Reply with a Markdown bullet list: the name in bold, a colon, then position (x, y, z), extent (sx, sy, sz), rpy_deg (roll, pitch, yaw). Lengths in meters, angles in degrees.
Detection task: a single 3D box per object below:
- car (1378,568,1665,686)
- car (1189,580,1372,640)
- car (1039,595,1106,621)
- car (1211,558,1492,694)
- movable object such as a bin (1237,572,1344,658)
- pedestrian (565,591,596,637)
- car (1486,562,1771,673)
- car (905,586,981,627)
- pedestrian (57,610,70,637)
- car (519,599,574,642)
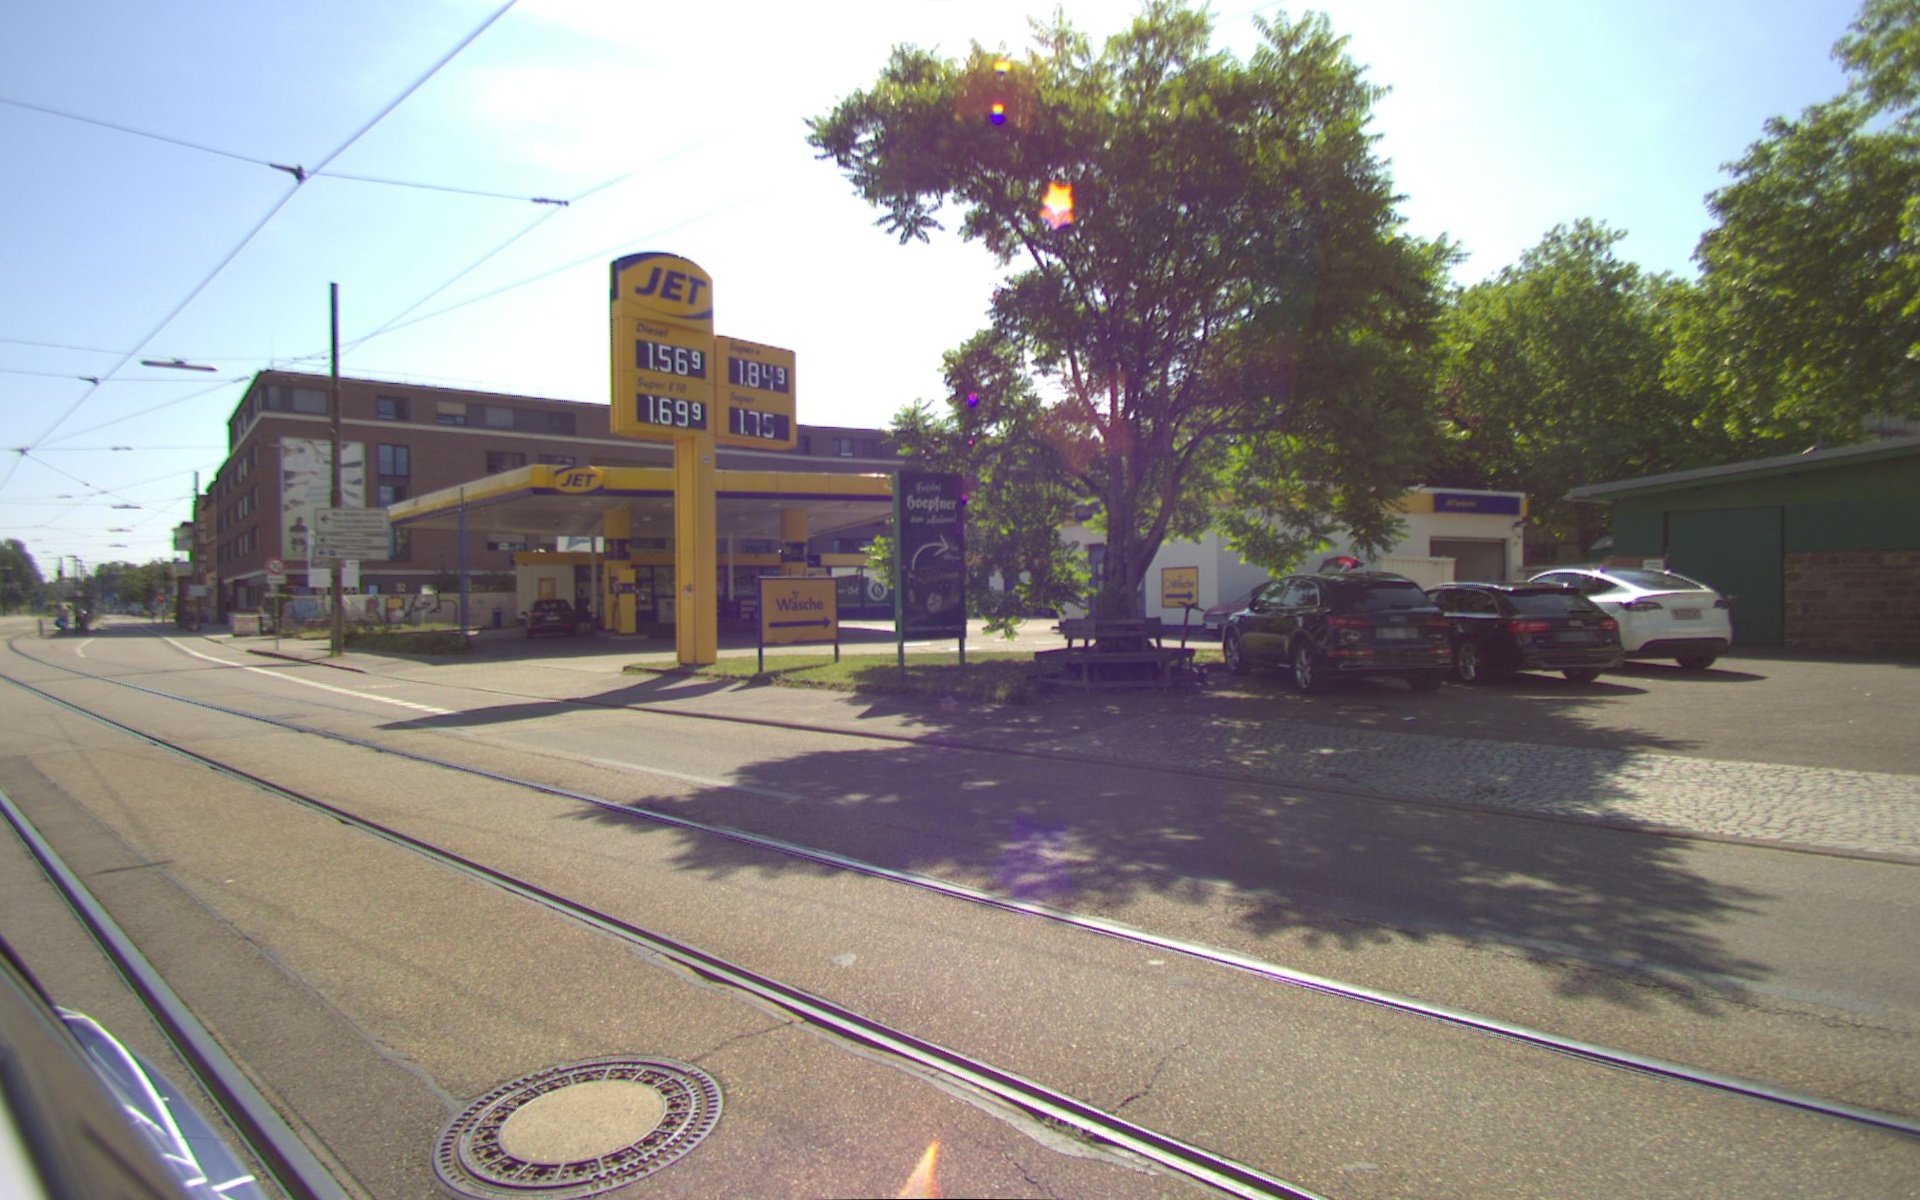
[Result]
- **car**: position (8.176, 0.341, 15.238), extent (1.819, 1.485, 4.004), rpy_deg (-1, 0, -5)
- **car**: position (8.640, 0.256, 27.303), extent (4.477, 1.471, 1.899), rpy_deg (-1, -1, -22)
- **car**: position (6.282, 0.456, 56.938), extent (1.731, 1.370, 4.146), rpy_deg (-1, 0, -26)
- **car**: position (5.476, 0.313, 14.964), extent (1.990, 1.653, 4.665), rpy_deg (-1, 0, -5)
- **movable object such as a bin**: position (6.124, 0.256, 18.746), extent (1.401, 1.514, 1.380), rpy_deg (-1, 0, -45)
- **pedestrian**: position (-14.507, 0.538, 38.689), extent (0.745, 1.738, 0.846), rpy_deg (-1, 0, 45)
- **car**: position (10.813, 0.241, 16.780), extent (1.819, 1.569, 4.004), rpy_deg (-1, 0, -5)
- **car**: position (-0.953, 0.312, 52.823), extent (1.731, 1.997, 5.324), rpy_deg (-1, 0, -27)
- **pedestrian**: position (-59.721, 1.547, 67.390), extent (0.793, 1.773, 0.550), rpy_deg (-1, 0, 43)
- **car**: position (-16.221, 0.801, 39.570), extent (1.731, 1.466, 4.424), rpy_deg (-4, 0, -24)
